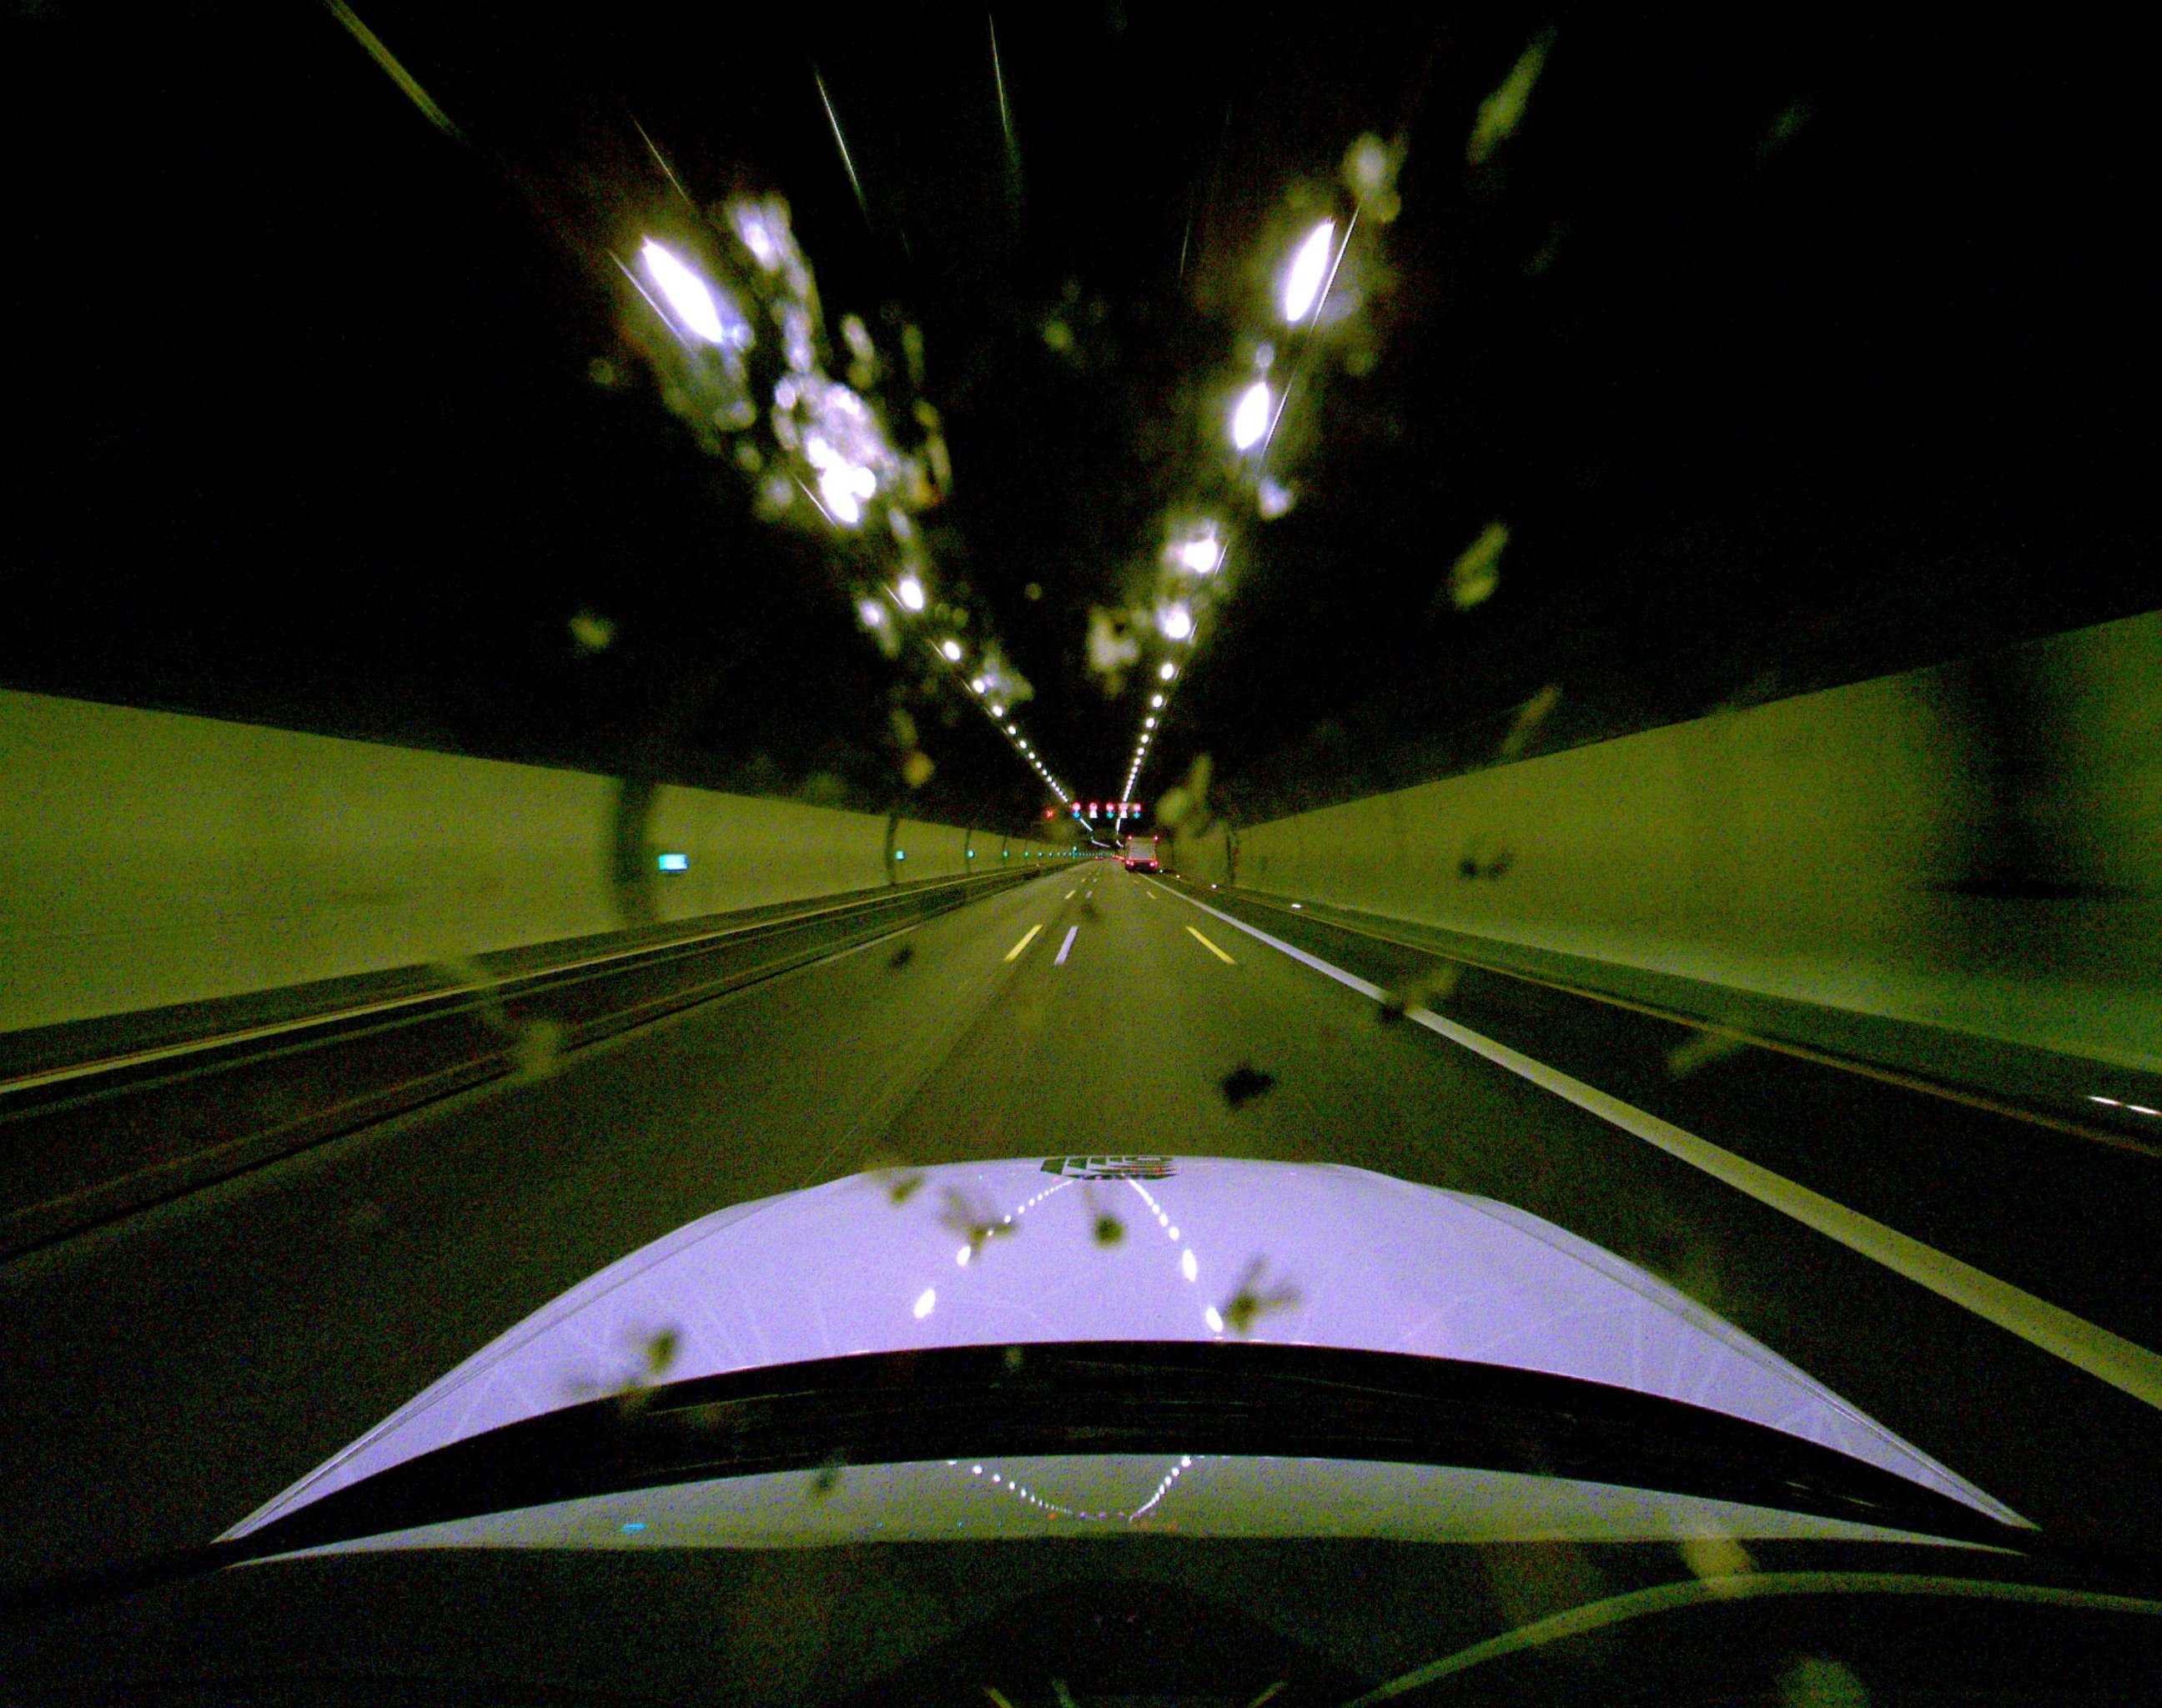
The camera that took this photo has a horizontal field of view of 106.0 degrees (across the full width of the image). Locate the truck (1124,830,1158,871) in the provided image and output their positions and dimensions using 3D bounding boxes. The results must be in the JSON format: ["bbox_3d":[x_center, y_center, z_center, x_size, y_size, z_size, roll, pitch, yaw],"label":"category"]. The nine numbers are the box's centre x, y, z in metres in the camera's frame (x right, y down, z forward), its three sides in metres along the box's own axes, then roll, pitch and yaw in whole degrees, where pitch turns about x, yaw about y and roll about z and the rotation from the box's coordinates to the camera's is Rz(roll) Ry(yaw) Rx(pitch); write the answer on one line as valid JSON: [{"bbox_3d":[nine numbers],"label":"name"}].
[{"bbox_3d":[5.965,-0.251,81.985,3.079,3.918,10.373,0,-1,2],"label":"truck"}]

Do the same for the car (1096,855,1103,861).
[{"bbox_3d":[4.743,1.022,206.193,1.752,1.461,4.121,0,1,2],"label":"car"}]

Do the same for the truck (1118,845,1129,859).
[{"bbox_3d":[12.572,-0.532,239.730,3.053,3.918,10.377,0,-1,4],"label":"truck"}]

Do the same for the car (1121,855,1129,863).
[{"bbox_3d":[9.294,1.030,171.007,1.732,1.461,3.964,0,1,4],"label":"car"}]
